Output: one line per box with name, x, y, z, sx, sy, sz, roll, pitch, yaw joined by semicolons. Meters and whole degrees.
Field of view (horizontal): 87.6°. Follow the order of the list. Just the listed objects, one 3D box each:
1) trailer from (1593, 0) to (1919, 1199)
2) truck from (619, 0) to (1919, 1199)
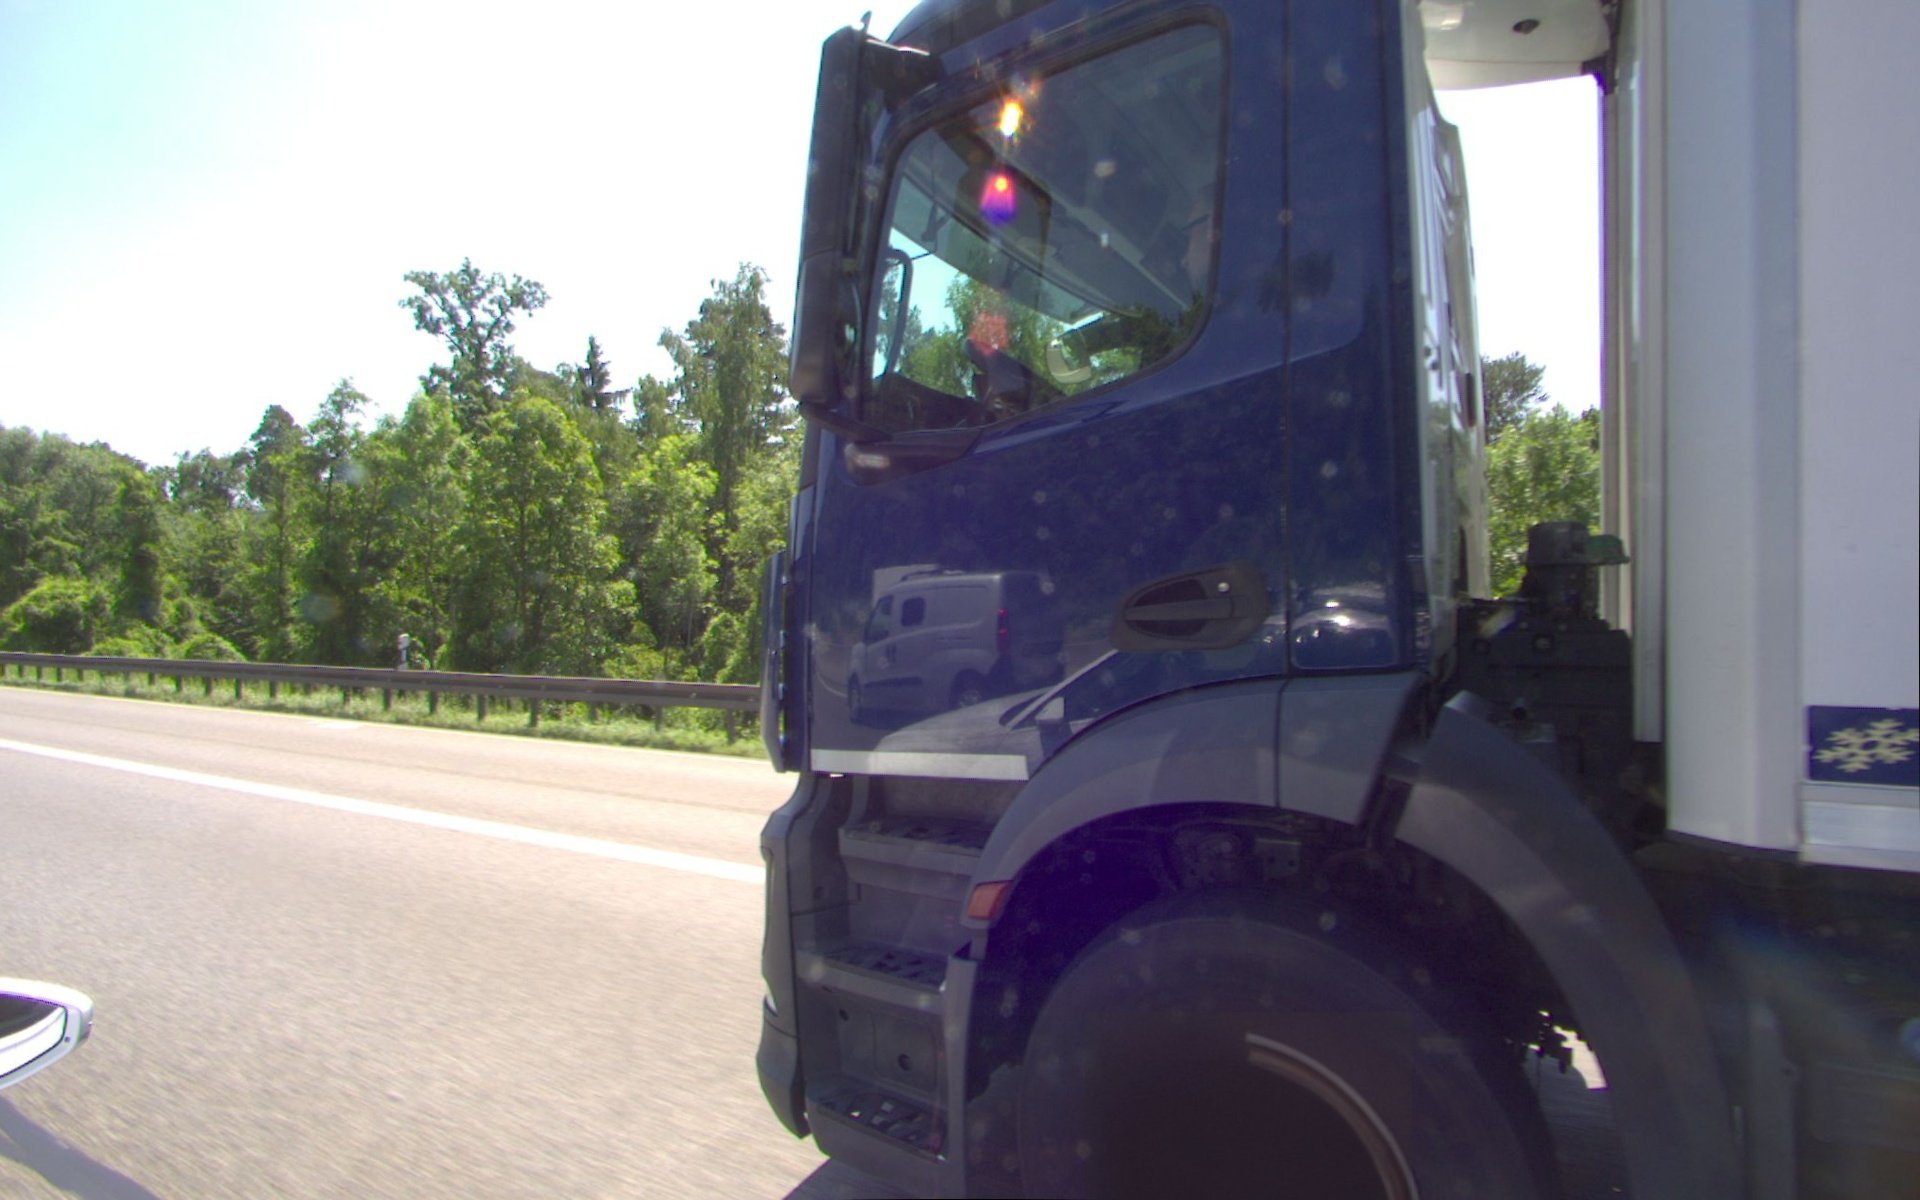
trailer;4.876;-0.071;0.358;7.767;2.936;2.552;-1;-1;31
truck;1.639;0.022;2.288;4.044;2.979;2.551;-2;-1;31
